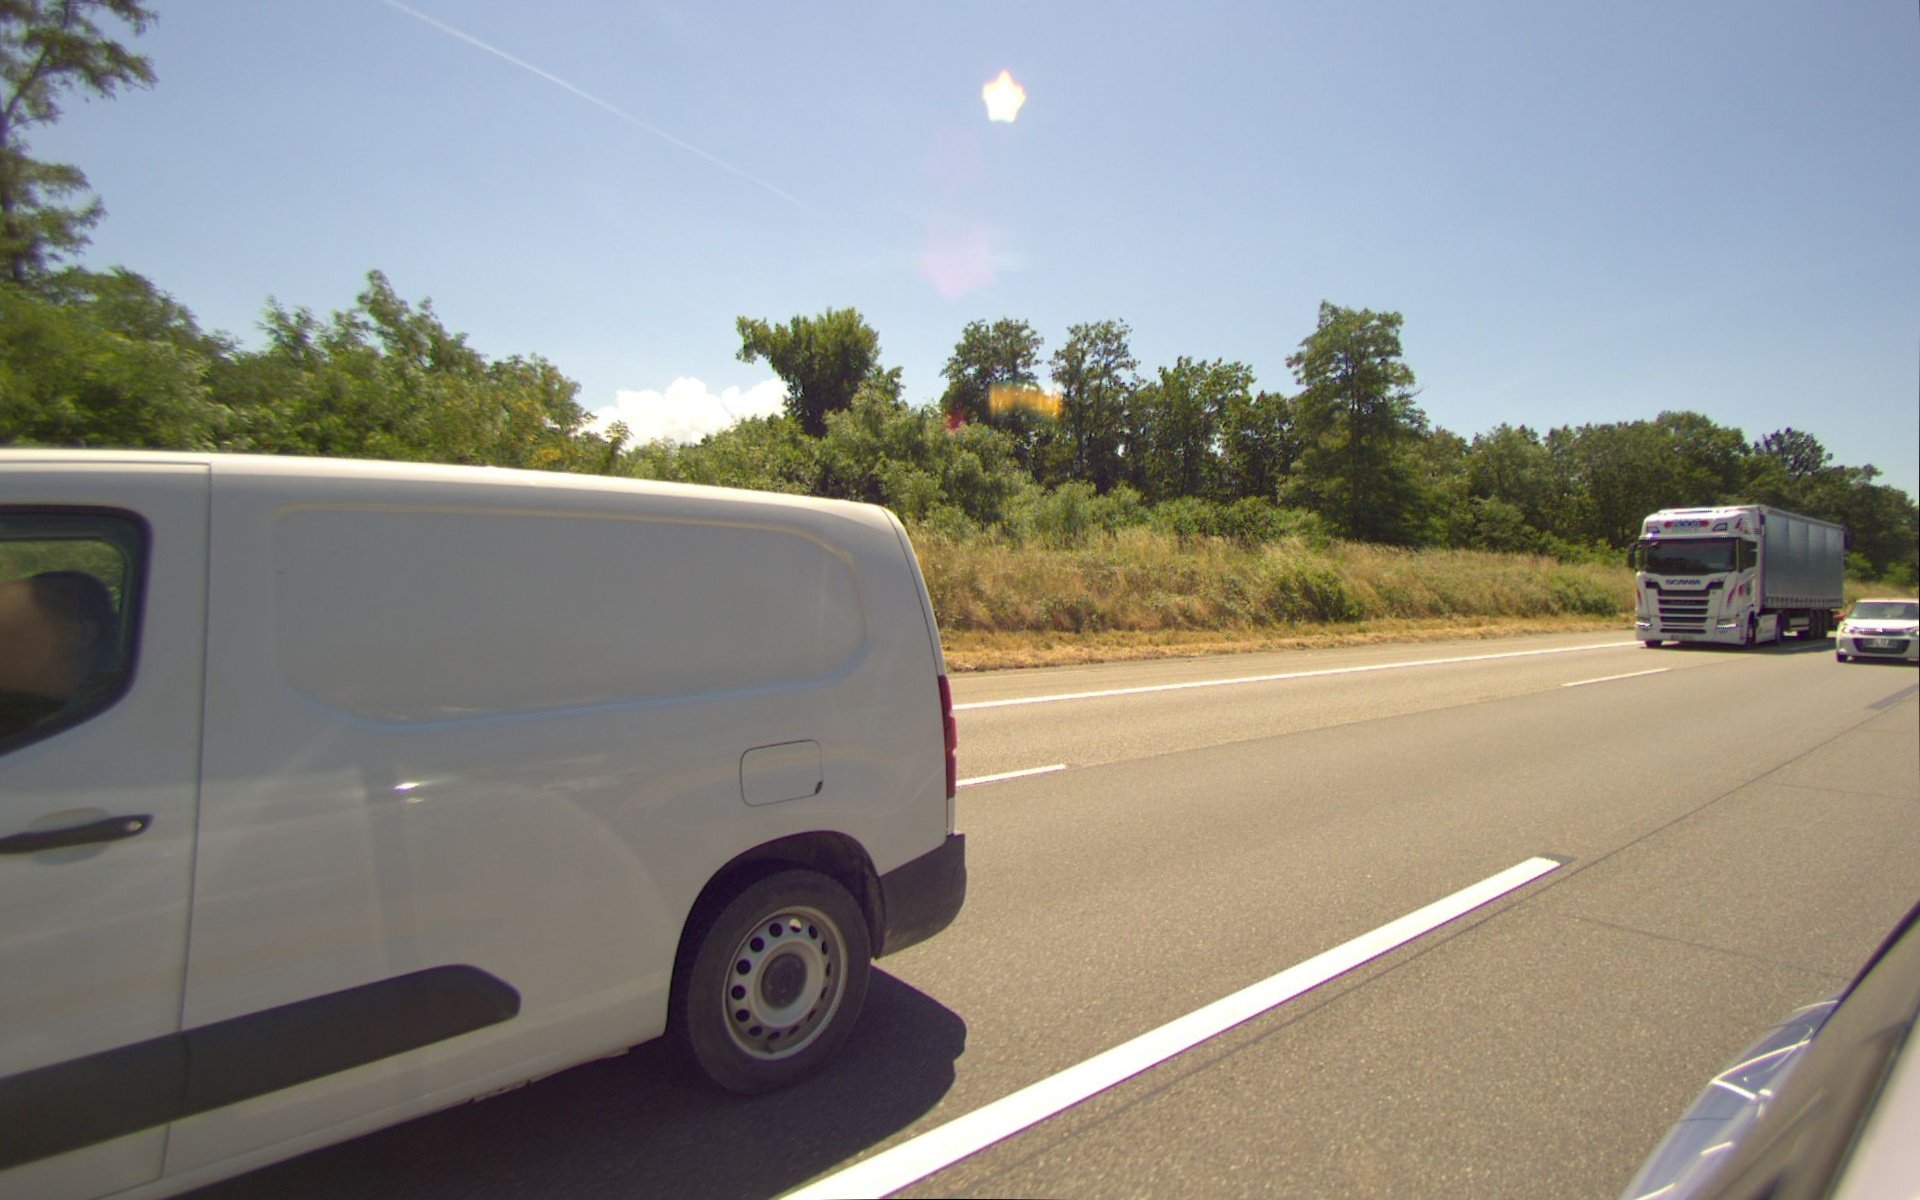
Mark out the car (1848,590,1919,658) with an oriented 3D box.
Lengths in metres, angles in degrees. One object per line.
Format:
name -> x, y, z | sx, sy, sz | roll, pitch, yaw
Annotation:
car -> 21.480, 0.500, 22.957 | 3.294, 1.438, 1.580 | -1, 0, -41

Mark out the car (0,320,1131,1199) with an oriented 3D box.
car -> -1.771, 0.408, 3.002 | 4.855, 1.840, 1.869 | -1, 0, -41

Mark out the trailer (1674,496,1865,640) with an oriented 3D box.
trailer -> 27.550, -0.969, 34.033 | 13.835, 4.053, 2.601 | -1, 0, -41

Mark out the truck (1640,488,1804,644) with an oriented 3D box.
truck -> 22.114, -0.910, 29.269 | 6.066, 4.053, 2.601 | 0, 0, -41
